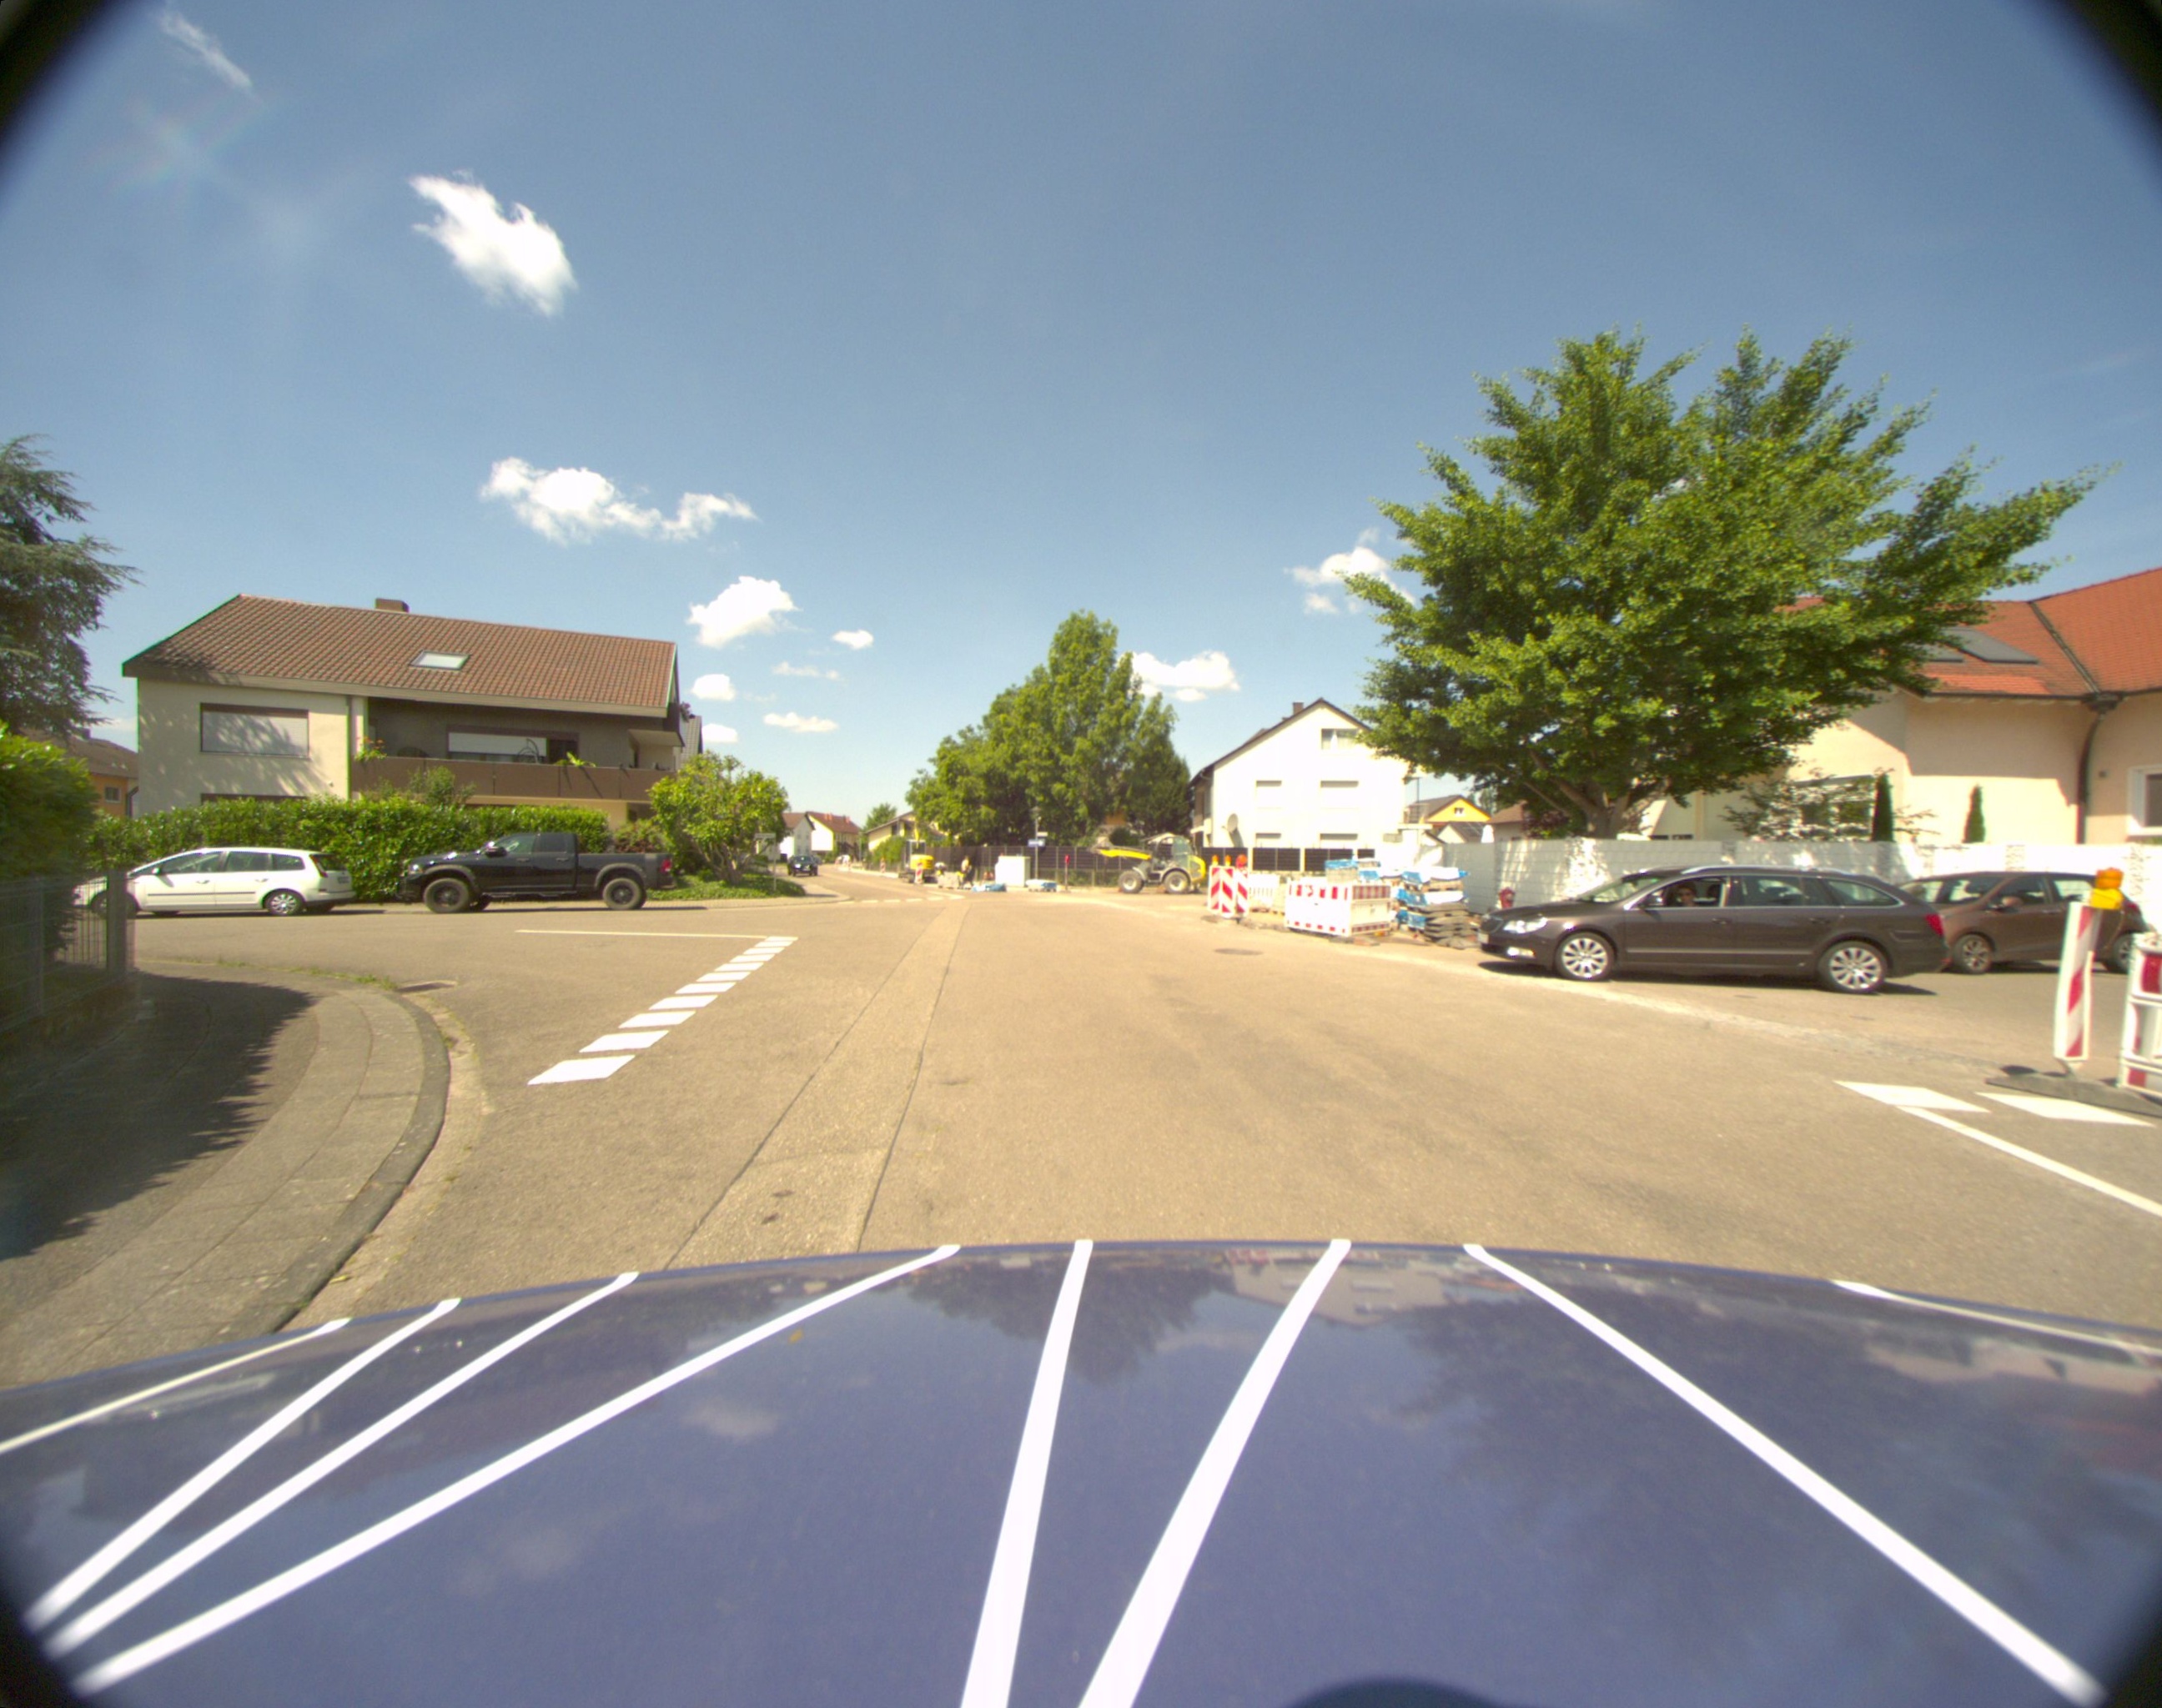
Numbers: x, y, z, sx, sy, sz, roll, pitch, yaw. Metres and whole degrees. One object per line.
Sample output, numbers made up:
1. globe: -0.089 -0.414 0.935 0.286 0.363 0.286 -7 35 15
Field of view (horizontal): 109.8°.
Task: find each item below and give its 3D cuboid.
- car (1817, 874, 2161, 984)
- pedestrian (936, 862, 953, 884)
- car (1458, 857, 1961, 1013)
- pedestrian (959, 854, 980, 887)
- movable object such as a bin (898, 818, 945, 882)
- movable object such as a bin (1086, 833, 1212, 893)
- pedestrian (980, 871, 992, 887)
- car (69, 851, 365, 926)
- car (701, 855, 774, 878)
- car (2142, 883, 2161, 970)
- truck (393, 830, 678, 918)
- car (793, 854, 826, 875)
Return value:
1. car: 13.997 1.092 11.562 4.033 1.523 1.718 0 -3 -4
2. pedestrian: -7.457 1.041 41.444 0.510 1.162 0.826 0 1 25
3. car: 7.673 0.971 9.819 4.701 1.525 1.789 2 -4 12
4. pedestrian: -5.237 0.781 35.611 0.852 1.505 0.531 -1 1 -21
5. movable object such as a bin: -9.353 -0.250 44.387 2.002 3.545 3.807 0 1 -23
6. movable object such as a bin: 2.915 0.406 32.559 5.225 2.437 2.002 0 -1 7
7. pedestrian: -4.760 1.241 38.076 0.431 0.788 0.523 0 1 18
8. car: -19.696 0.730 17.611 4.149 1.554 1.799 0 0 -26
9. car: -21.192 0.747 46.926 4.005 1.334 1.996 0 0 -26
10. car: 20.210 1.205 11.922 4.735 1.420 1.901 0 0 -3
11. truck: -13.794 0.550 19.832 5.721 2.000 2.368 0 -5 -27
12. car: -20.660 0.758 57.733 1.923 1.533 3.991 0 0 -25
